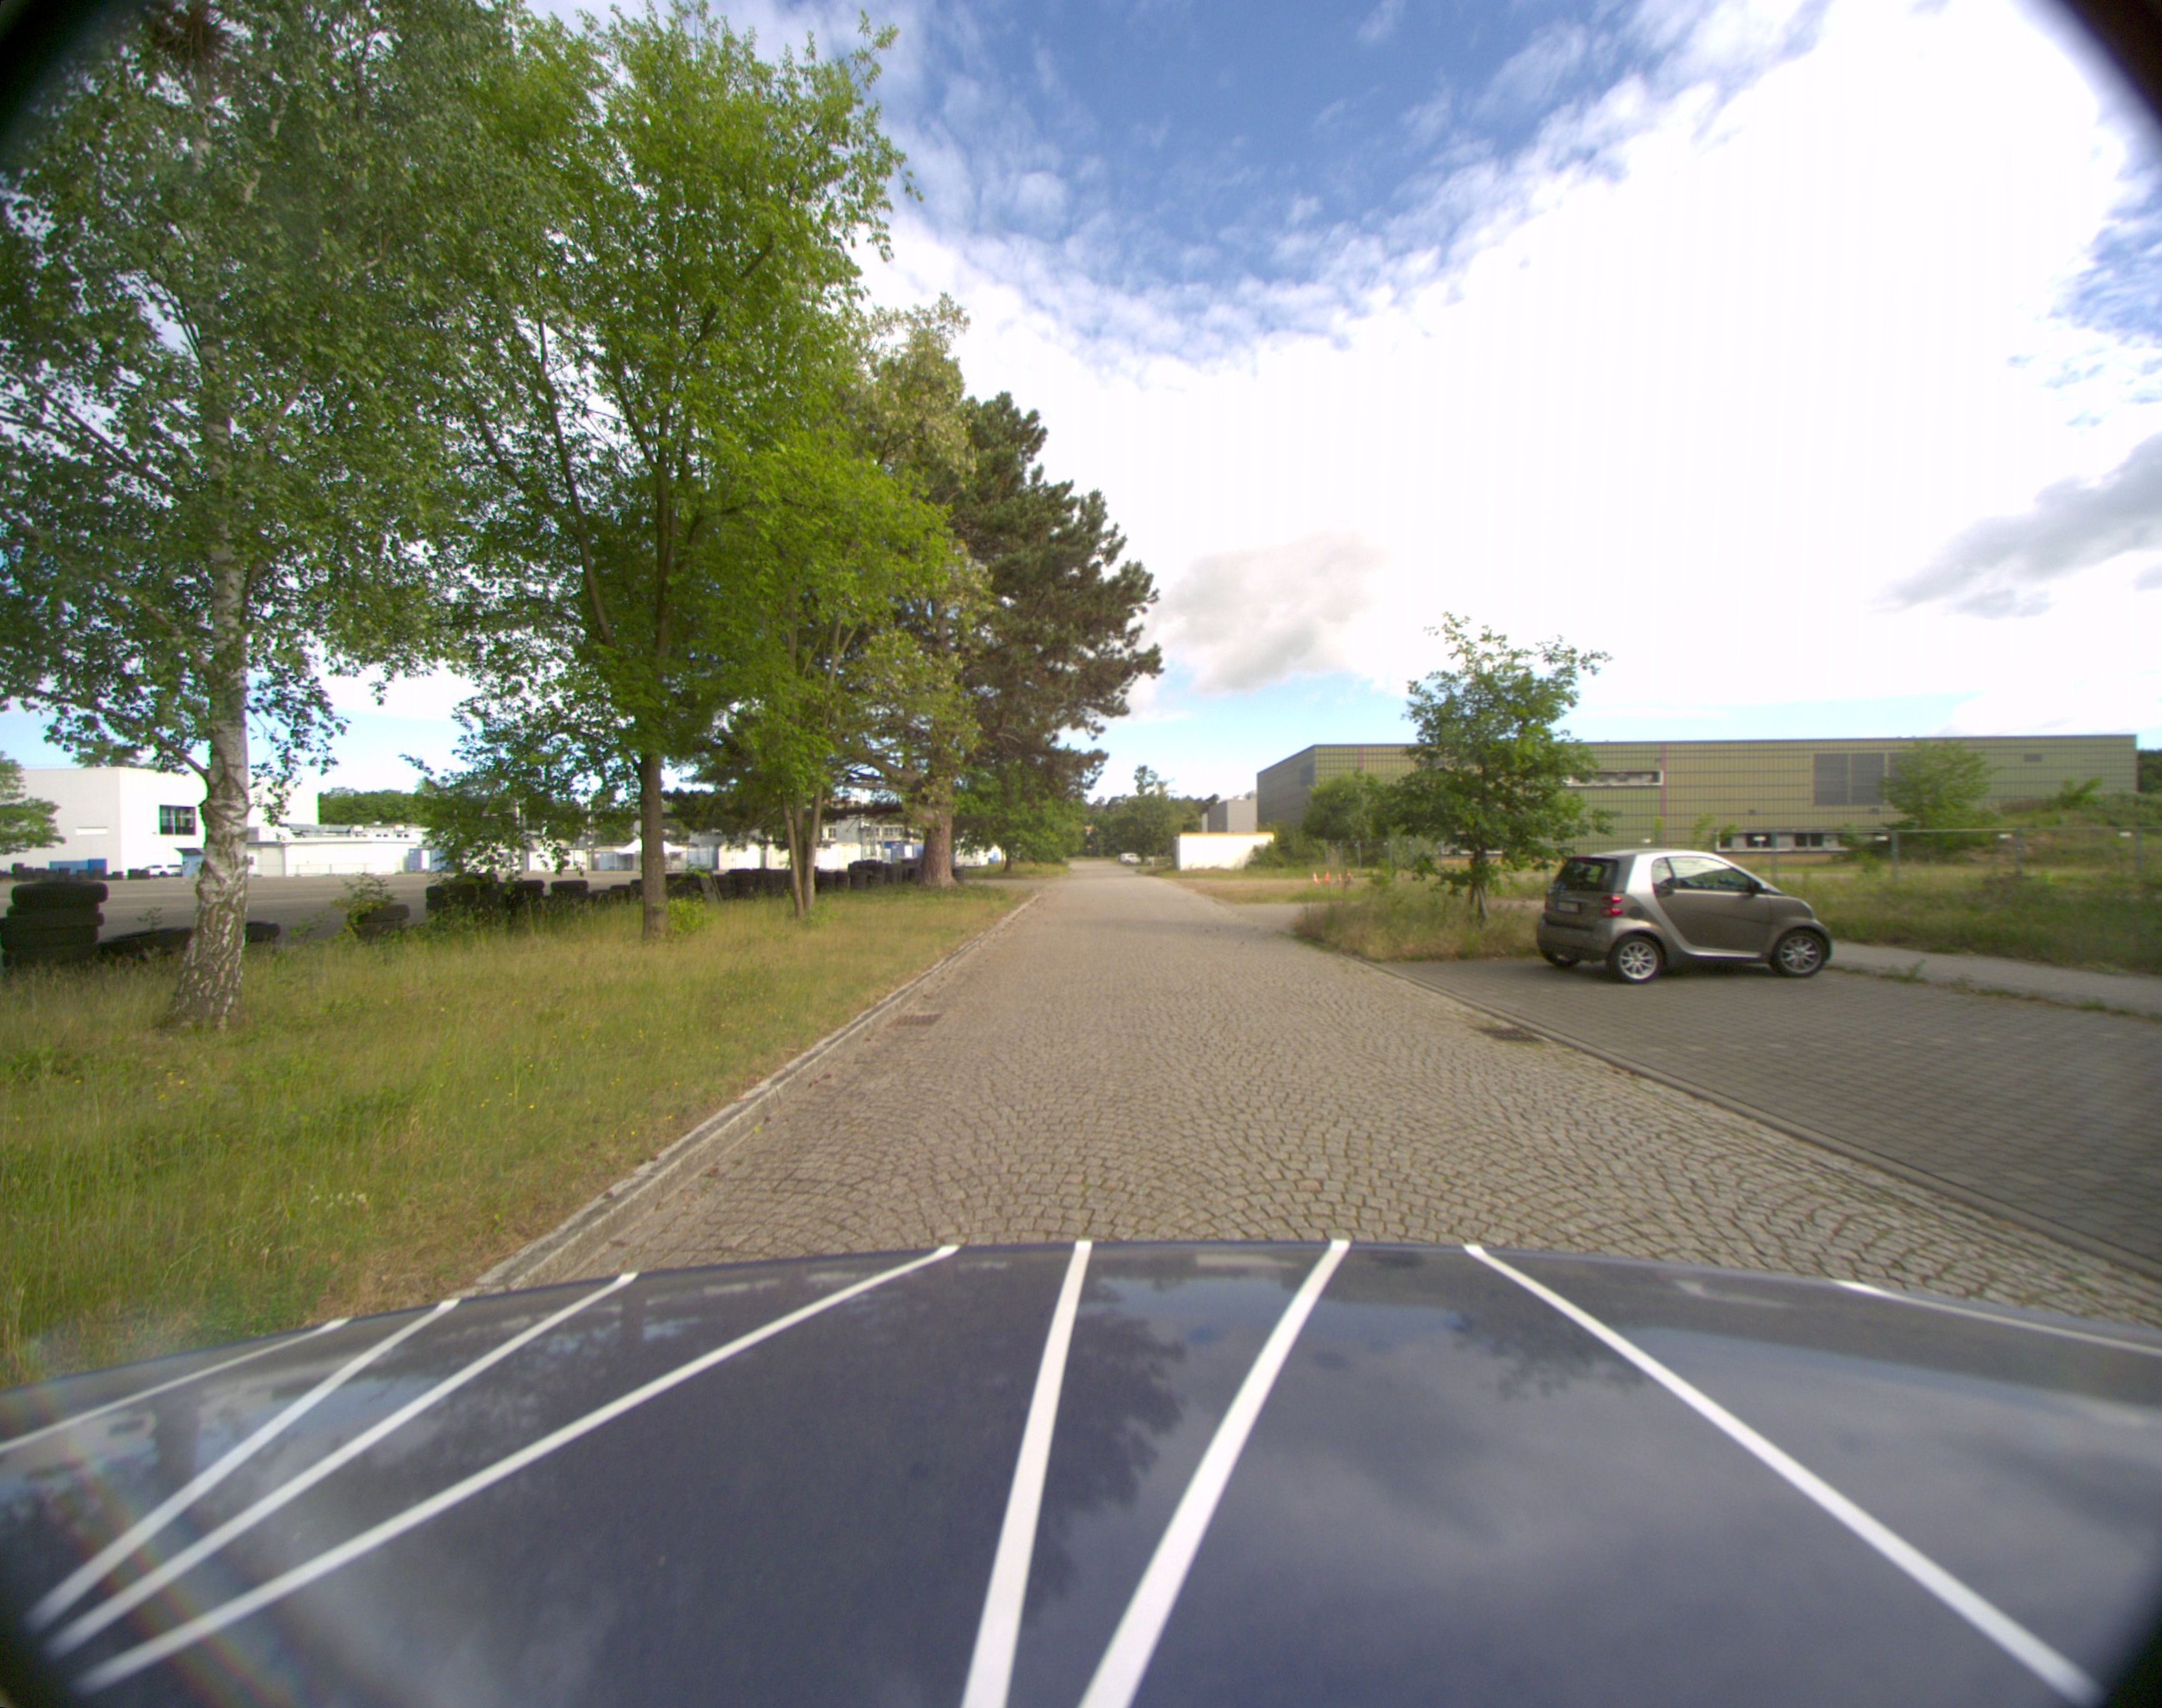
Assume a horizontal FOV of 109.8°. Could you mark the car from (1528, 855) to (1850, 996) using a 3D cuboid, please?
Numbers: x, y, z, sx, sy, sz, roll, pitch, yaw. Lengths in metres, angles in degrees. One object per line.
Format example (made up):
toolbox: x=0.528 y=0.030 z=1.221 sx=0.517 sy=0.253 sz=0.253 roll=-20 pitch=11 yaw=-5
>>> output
car: x=7.334 y=0.810 z=9.382 sx=2.661 sy=1.502 sz=1.610 roll=-2 pitch=1 yaw=0

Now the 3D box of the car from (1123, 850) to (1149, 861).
car: x=8.431 y=0.211 z=116.600 sx=3.996 sy=1.604 sz=1.797 roll=0 pitch=1 yaw=4
